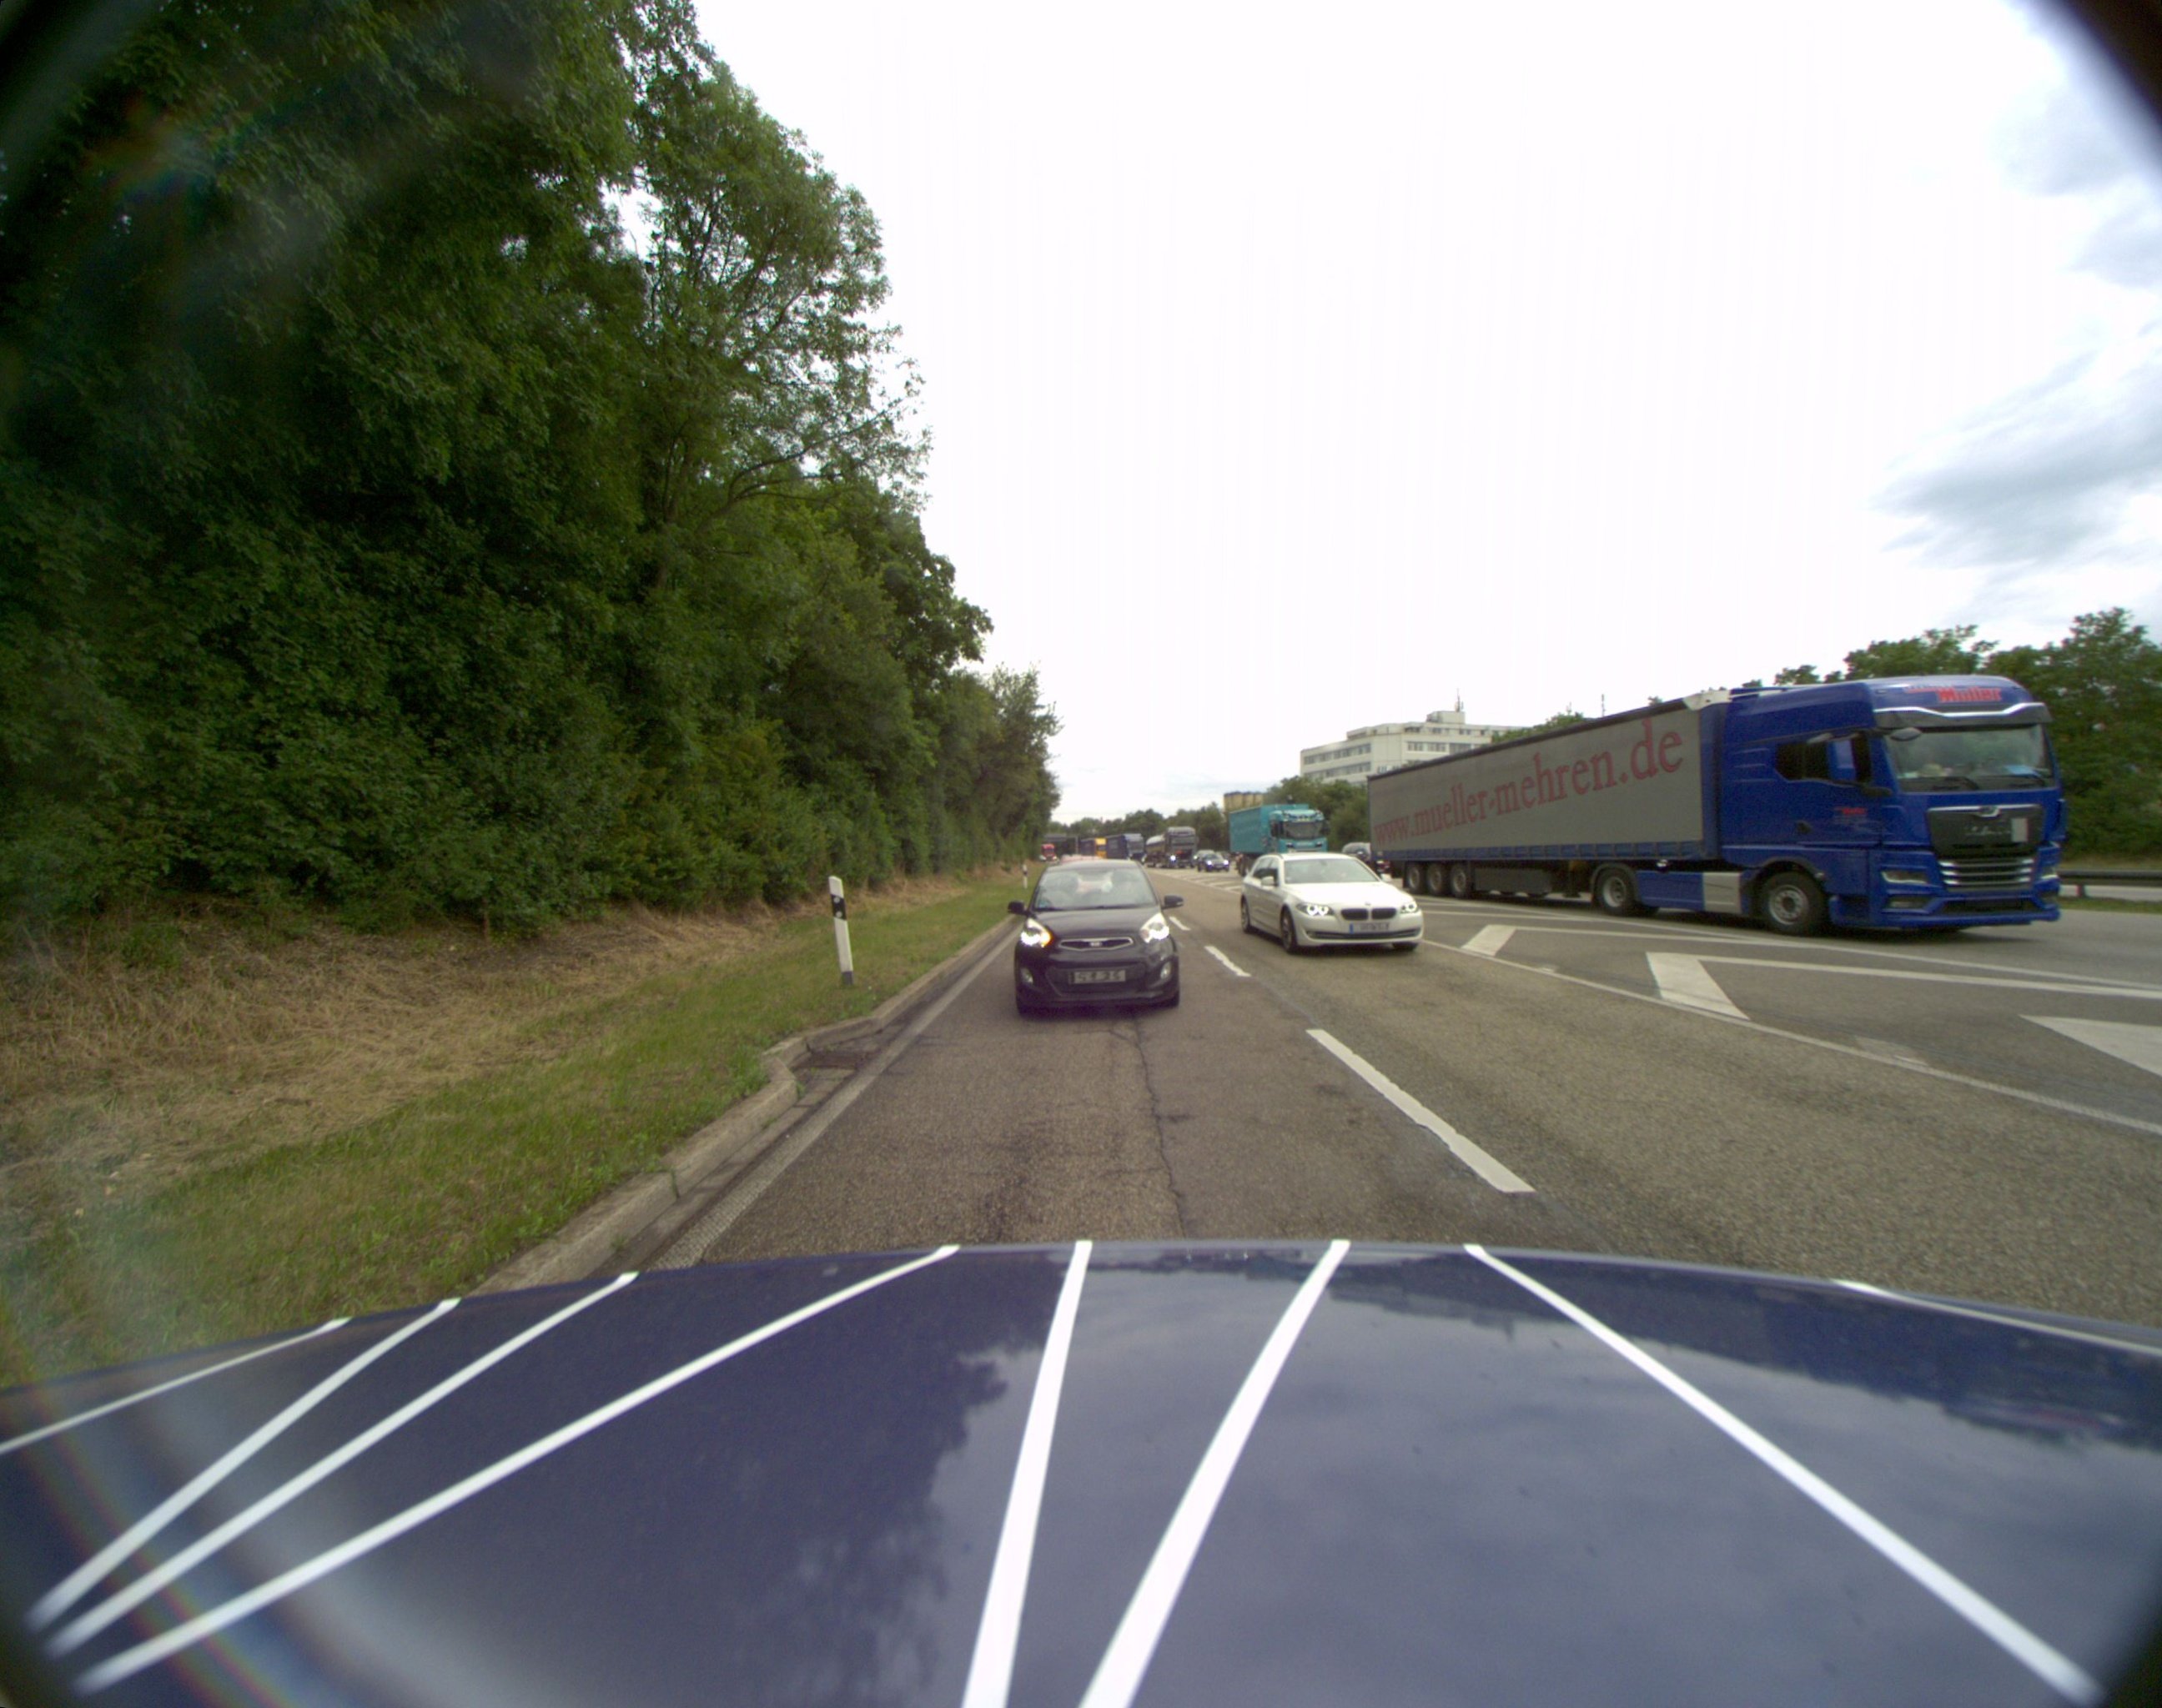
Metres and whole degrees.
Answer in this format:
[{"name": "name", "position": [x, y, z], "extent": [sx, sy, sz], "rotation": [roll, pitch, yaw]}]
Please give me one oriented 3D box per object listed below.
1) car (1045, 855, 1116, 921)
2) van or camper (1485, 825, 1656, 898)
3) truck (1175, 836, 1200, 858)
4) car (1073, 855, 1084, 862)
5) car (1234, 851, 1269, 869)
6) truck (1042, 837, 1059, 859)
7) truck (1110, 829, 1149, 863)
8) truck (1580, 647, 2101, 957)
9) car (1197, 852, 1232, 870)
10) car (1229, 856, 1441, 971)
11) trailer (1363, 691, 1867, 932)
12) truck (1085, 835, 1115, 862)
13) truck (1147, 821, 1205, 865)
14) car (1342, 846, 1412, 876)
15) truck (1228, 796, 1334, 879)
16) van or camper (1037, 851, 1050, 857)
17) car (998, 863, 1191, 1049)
[{"name": "car", "position": [-0.011, 0.788, 19.530], "extent": [1.630, 1.492, 3.564], "rotation": [-1, 0, 0]}, {"name": "van or camper", "position": [14.349, 0.185, 22.694], "extent": [1.925, 1.909, 4.850], "rotation": [-1, 0, -1]}, {"name": "truck", "position": [19.022, -1.244, 136.406], "extent": [2.001, 3.739, 7.539], "rotation": [-1, 0, -12]}, {"name": "car", "position": [-0.446, 0.862, 148.906], "extent": [1.636, 1.328, 3.192], "rotation": [-1, 0, -10]}, {"name": "car", "position": [14.431, 0.505, 64.446], "extent": [1.898, 1.425, 4.054], "rotation": [-1, 0, -3]}, {"name": "truck", "position": [-7.453, -1.463, 184.630], "extent": [2.848, 5.070, 14.111], "rotation": [-2, 0, -8]}, {"name": "truck", "position": [6.354, -1.074, 102.386], "extent": [2.815, 4.206, 13.998], "rotation": [-2, 0, -6]}, {"name": "truck", "position": [11.795, -0.689, 12.783], "extent": [2.676, 3.938, 5.925], "rotation": [-1, 0, -2]}, {"name": "car", "position": [10.001, 0.511, 57.275], "extent": [1.757, 1.314, 3.999], "rotation": [-1, 0, -3]}, {"name": "car", "position": [3.892, 0.802, 12.648], "extent": [1.863, 1.455, 4.884], "rotation": [-2, 0, 0]}, {"name": "trailer", "position": [11.490, -0.729, 19.597], "extent": [2.680, 3.951, 13.915], "rotation": [-1, 0, -2]}, {"name": "truck", "position": [3.031, -0.945, 127.525], "extent": [2.848, 4.206, 14.111], "rotation": [-2, 0, -8]}, {"name": "truck", "position": [9.283, -1.006, 76.101], "extent": [3.328, 3.902, 13.140], "rotation": [-1, 0, -3]}, {"name": "car", "position": [15.199, 0.318, 39.223], "extent": [1.898, 1.425, 3.999], "rotation": [-1, 0, -3]}, {"name": "truck", "position": [10.674, -0.806, 41.921], "extent": [2.700, 3.977, 10.122], "rotation": [-1, 0, -2]}, {"name": "van or camper", "position": [-8.311, 0.058, 168.509], "extent": [2.348, 1.276, 4.468], "rotation": [-1, 0, -10]}, {"name": "car", "position": [0.160, 0.896, 8.437], "extent": [1.584, 1.485, 4.000], "rotation": [-2, 0, 1]}]
